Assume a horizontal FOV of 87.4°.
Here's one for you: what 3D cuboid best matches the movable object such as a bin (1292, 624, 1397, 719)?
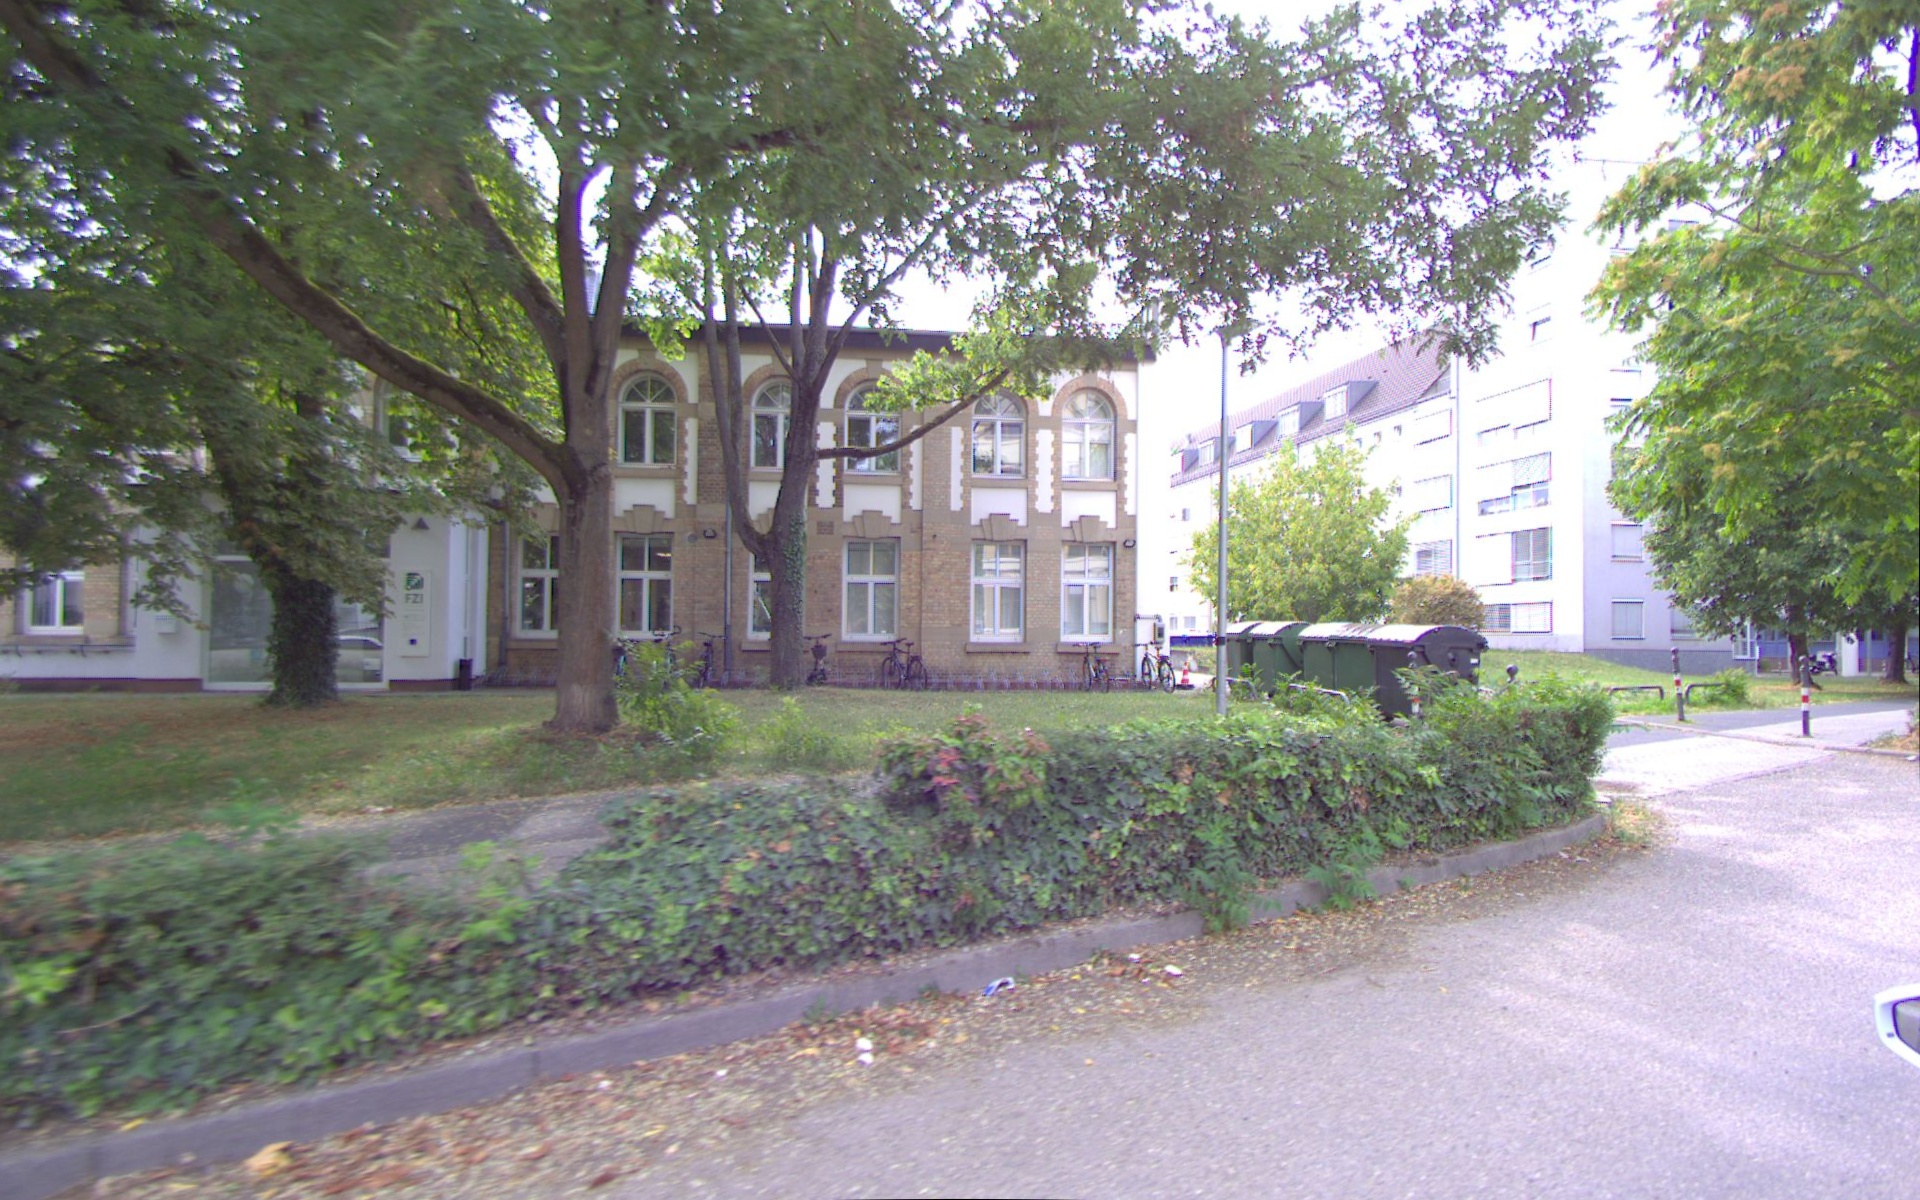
[{"bbox_3d":[6.110,1.108,16.049,1.101,1.449,1.283,1,-1,-7],"label":"movable object such as a bin"}]

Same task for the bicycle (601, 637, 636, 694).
[{"bbox_3d":[-6.875,1.300,20.279,0.585,1.057,1.971,0,-1,-16],"label":"bicycle"}]

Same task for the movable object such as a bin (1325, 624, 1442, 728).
[{"bbox_3d":[6.156,1.075,14.681,1.101,1.449,1.283,1,-1,-7],"label":"movable object such as a bin"}]

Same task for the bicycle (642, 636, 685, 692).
[{"bbox_3d":[-5.968,1.263,20.309,0.584,1.057,1.975,0,-1,-9],"label":"bicycle"}]

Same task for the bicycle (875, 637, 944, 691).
[{"bbox_3d":[-1.091,1.335,21.346,0.588,1.057,1.960,0,-1,-32],"label":"bicycle"}]

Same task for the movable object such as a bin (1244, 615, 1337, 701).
[{"bbox_3d":[5.778,0.995,17.631,1.101,1.449,1.283,1,-1,-7],"label":"movable object such as a bin"}]

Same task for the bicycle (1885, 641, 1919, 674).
[{"bbox_3d":[35.988,2.174,38.015,1.872,1.197,0.648,1,-1,-21],"label":"bicycle"}]

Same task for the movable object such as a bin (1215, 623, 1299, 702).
[{"bbox_3d":[5.594,1.158,19.004,1.101,1.449,1.283,1,-1,-7],"label":"movable object such as a bin"}]

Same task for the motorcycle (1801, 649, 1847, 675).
[{"bbox_3d":[45.688,3.276,53.117,2.108,1.307,0.667,0,-1,-9],"label":"motorcycle"}]

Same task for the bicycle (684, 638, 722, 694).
[{"bbox_3d":[-5.214,1.318,20.473,0.584,1.057,1.975,0,-1,-9],"label":"bicycle"}]

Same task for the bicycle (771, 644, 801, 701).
[{"bbox_3d":[-3.549,1.454,20.584,0.584,1.057,1.975,0,-1,-9],"label":"bicycle"}]

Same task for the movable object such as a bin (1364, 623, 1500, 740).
[{"bbox_3d":[6.129,1.025,13.123,1.101,1.449,1.283,1,-1,-7],"label":"movable object such as a bin"}]

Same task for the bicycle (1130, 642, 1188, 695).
[{"bbox_3d":[4.279,1.462,21.750,0.584,1.057,1.975,0,-1,-9],"label":"bicycle"}]

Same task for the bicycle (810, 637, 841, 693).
[{"bbox_3d":[-2.795,1.313,20.756,0.584,1.057,1.975,0,-1,-9],"label":"bicycle"}]

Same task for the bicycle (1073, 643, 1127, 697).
[{"bbox_3d":[2.968,1.467,21.492,0.584,1.057,1.975,0,-1,-9],"label":"bicycle"}]
